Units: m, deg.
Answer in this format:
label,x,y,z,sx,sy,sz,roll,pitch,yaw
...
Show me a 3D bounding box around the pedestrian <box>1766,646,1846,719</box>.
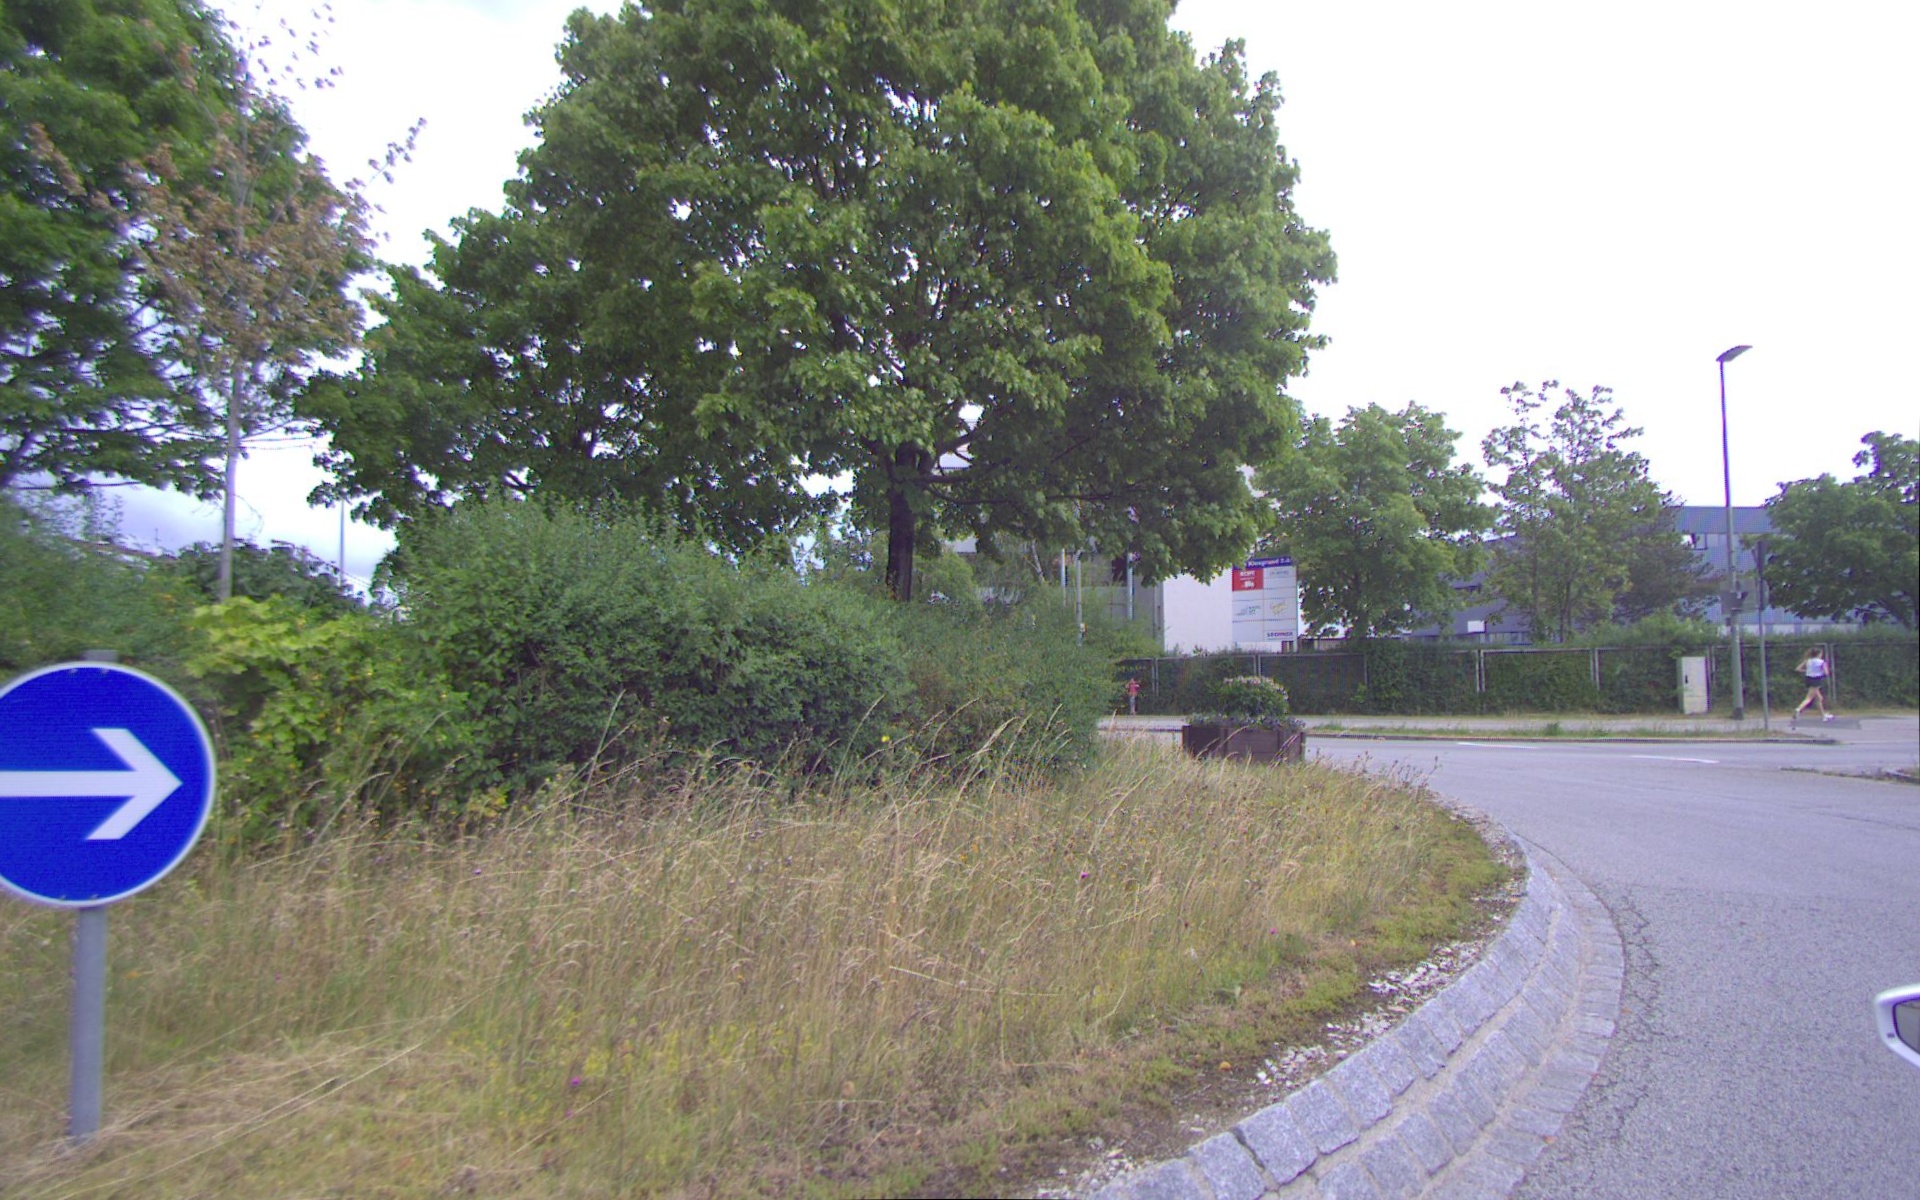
label,x,y,z,sx,sy,sz,roll,pitch,yaw
pedestrian,18.792,1.831,22.323,1.024,1.564,0.788,-1,-3,0
